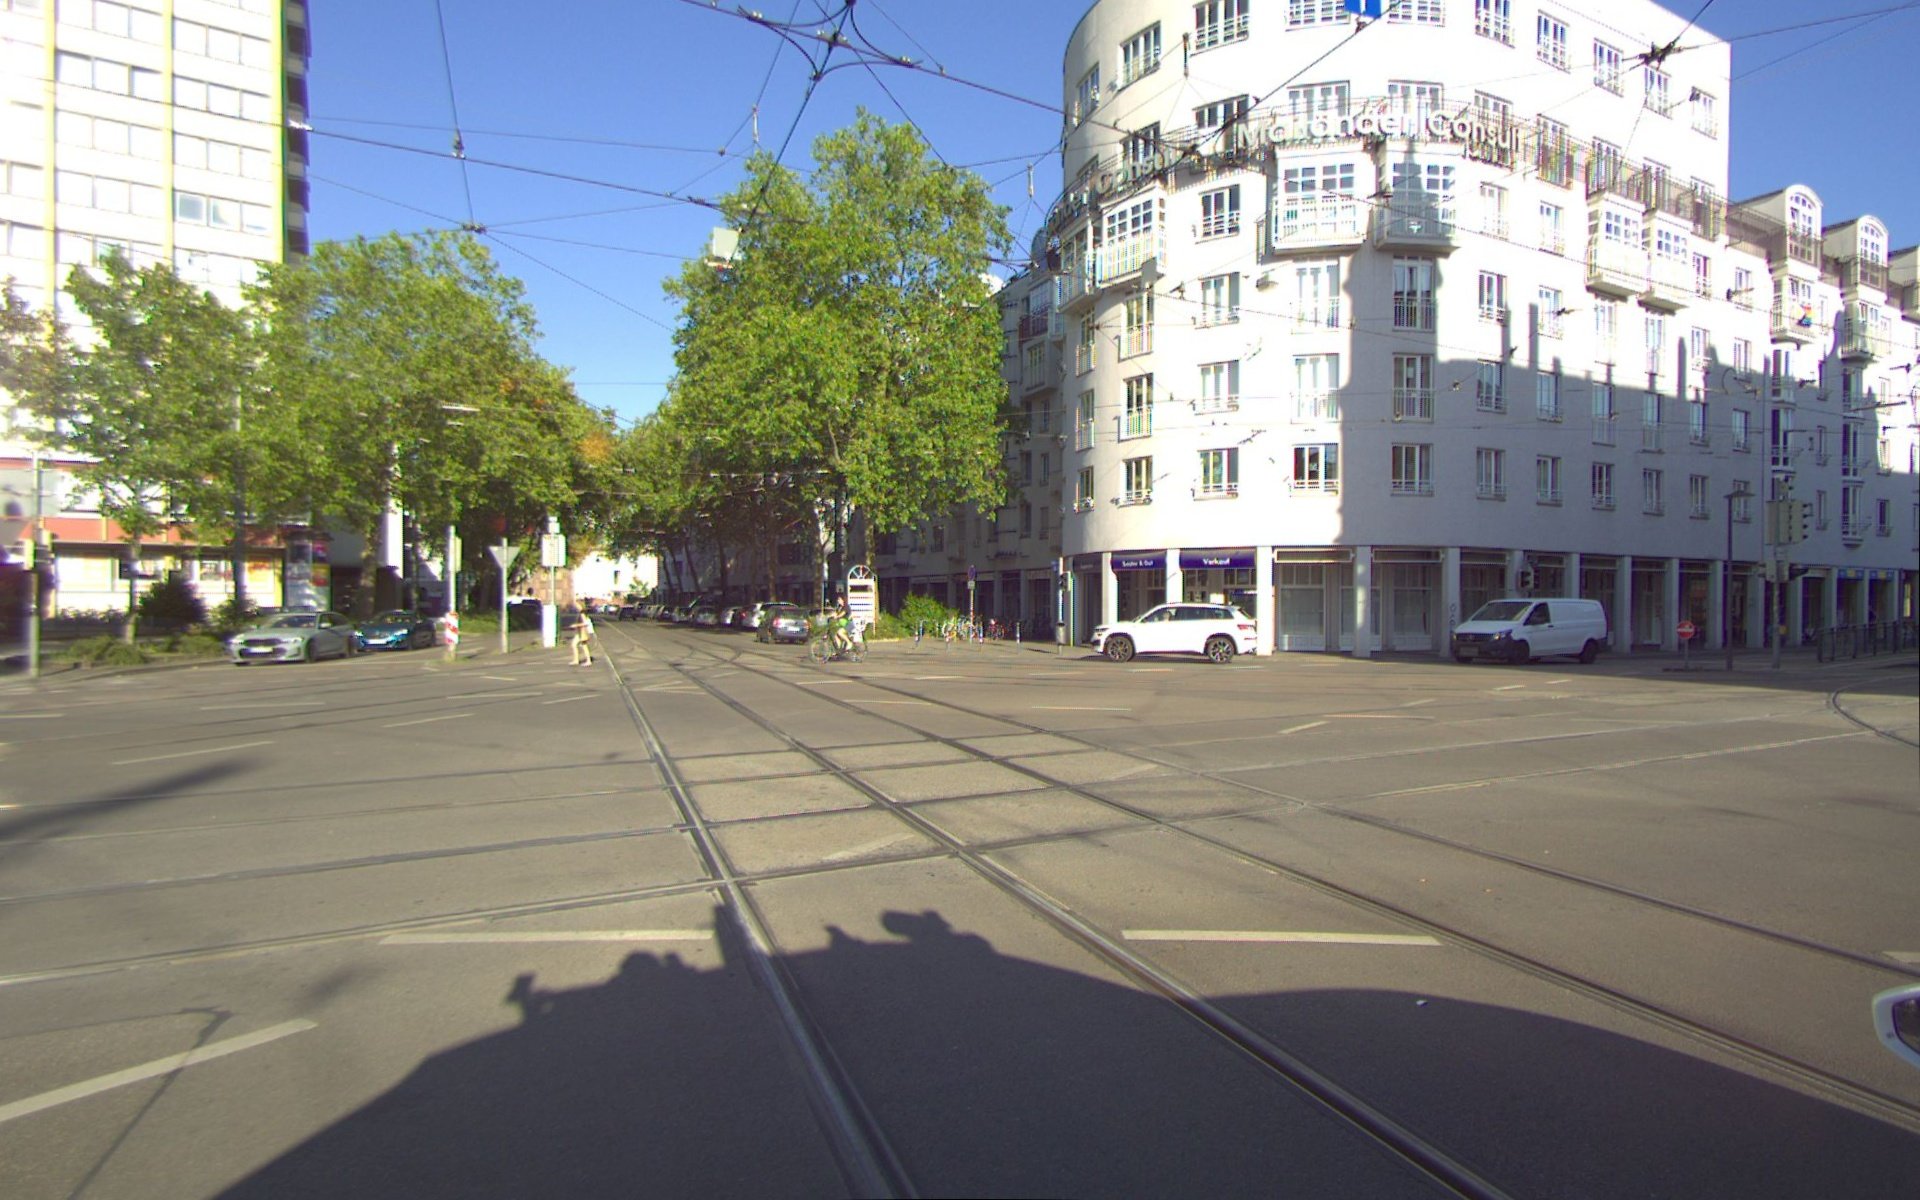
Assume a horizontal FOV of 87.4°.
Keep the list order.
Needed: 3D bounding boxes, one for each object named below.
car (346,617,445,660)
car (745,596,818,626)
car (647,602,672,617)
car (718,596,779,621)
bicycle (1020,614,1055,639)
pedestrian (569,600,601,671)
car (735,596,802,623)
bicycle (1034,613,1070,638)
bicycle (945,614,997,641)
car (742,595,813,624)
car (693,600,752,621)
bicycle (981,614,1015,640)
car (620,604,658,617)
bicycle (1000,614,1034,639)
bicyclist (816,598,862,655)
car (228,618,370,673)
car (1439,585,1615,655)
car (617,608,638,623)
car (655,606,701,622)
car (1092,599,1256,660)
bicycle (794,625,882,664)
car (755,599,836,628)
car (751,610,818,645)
[{"bbox_3d":[-20.331,1.334,36.377,1.858,1.440,4.446,0,-1,-12],"label":"car"},{"bbox_3d":[-10.768,0.640,60.565,3.953,1.738,1.785,1,0,-30],"label":"car"},{"bbox_3d":[-33.243,1.042,111.058,1.778,1.530,3.969,1,1,-29],"label":"car"},{"bbox_3d":[-15.154,0.582,72.038,3.953,1.738,1.785,1,0,-30],"label":"car"},{"bbox_3d":[3.629,1.217,47.148,0.808,1.122,1.936,0,0,-25],"label":"bicycle"},{"bbox_3d":[-9.308,0.868,24.953,0.686,1.704,0.867,-2,0,-20],"label":"pedestrian"},{"bbox_3d":[-12.438,0.624,65.344,3.953,1.738,1.785,1,0,-30],"label":"car"},{"bbox_3d":[4.346,1.214,47.626,0.808,1.122,1.936,0,0,-25],"label":"bicycle"},{"bbox_3d":[0.480,1.216,44.927,0.931,1.122,2.414,0,0,-42],"label":"bicycle"},{"bbox_3d":[-11.381,0.607,62.695,3.953,1.738,1.785,1,0,-30],"label":"car"},{"bbox_3d":[-17.348,0.749,73.463,3.947,1.530,1.788,0,0,-26],"label":"car"},{"bbox_3d":[1.723,1.222,46.065,0.807,1.122,1.937,0,0,-23],"label":"bicycle"},{"bbox_3d":[-38.343,1.243,119.994,3.953,1.530,1.785,1,0,-30],"label":"car"},{"bbox_3d":[2.614,1.221,46.465,0.807,1.122,1.937,0,0,-23],"label":"bicycle"},{"bbox_3d":[-3.206,0.687,26.616,0.889,1.487,0.834,0,0,-40],"label":"bicyclist"},{"bbox_3d":[-18.780,1.236,28.807,1.858,1.440,4.446,0,-1,-12],"label":"car"},{"bbox_3d":[16.486,0.582,29.142,5.282,1.861,1.985,0,-2,-30],"label":"car"},{"bbox_3d":[-34.651,1.584,104.748,1.774,1.530,3.978,0,0,-23],"label":"car"},{"bbox_3d":[-27.537,1.346,98.109,3.953,1.530,1.785,1,0,-30],"label":"car"},{"bbox_3d":[6.039,0.790,28.555,4.419,1.641,2.001,0,0,12],"label":"car"},{"bbox_3d":[-3.211,1.157,26.615,2.246,0.939,0.834,0,0,-40],"label":"bicycle"},{"bbox_3d":[-8.785,0.718,53.657,3.953,1.530,1.785,1,0,-30],"label":"car"},{"bbox_3d":[-7.740,1.157,43.898,1.865,1.440,4.430,0,0,-24],"label":"car"}]
